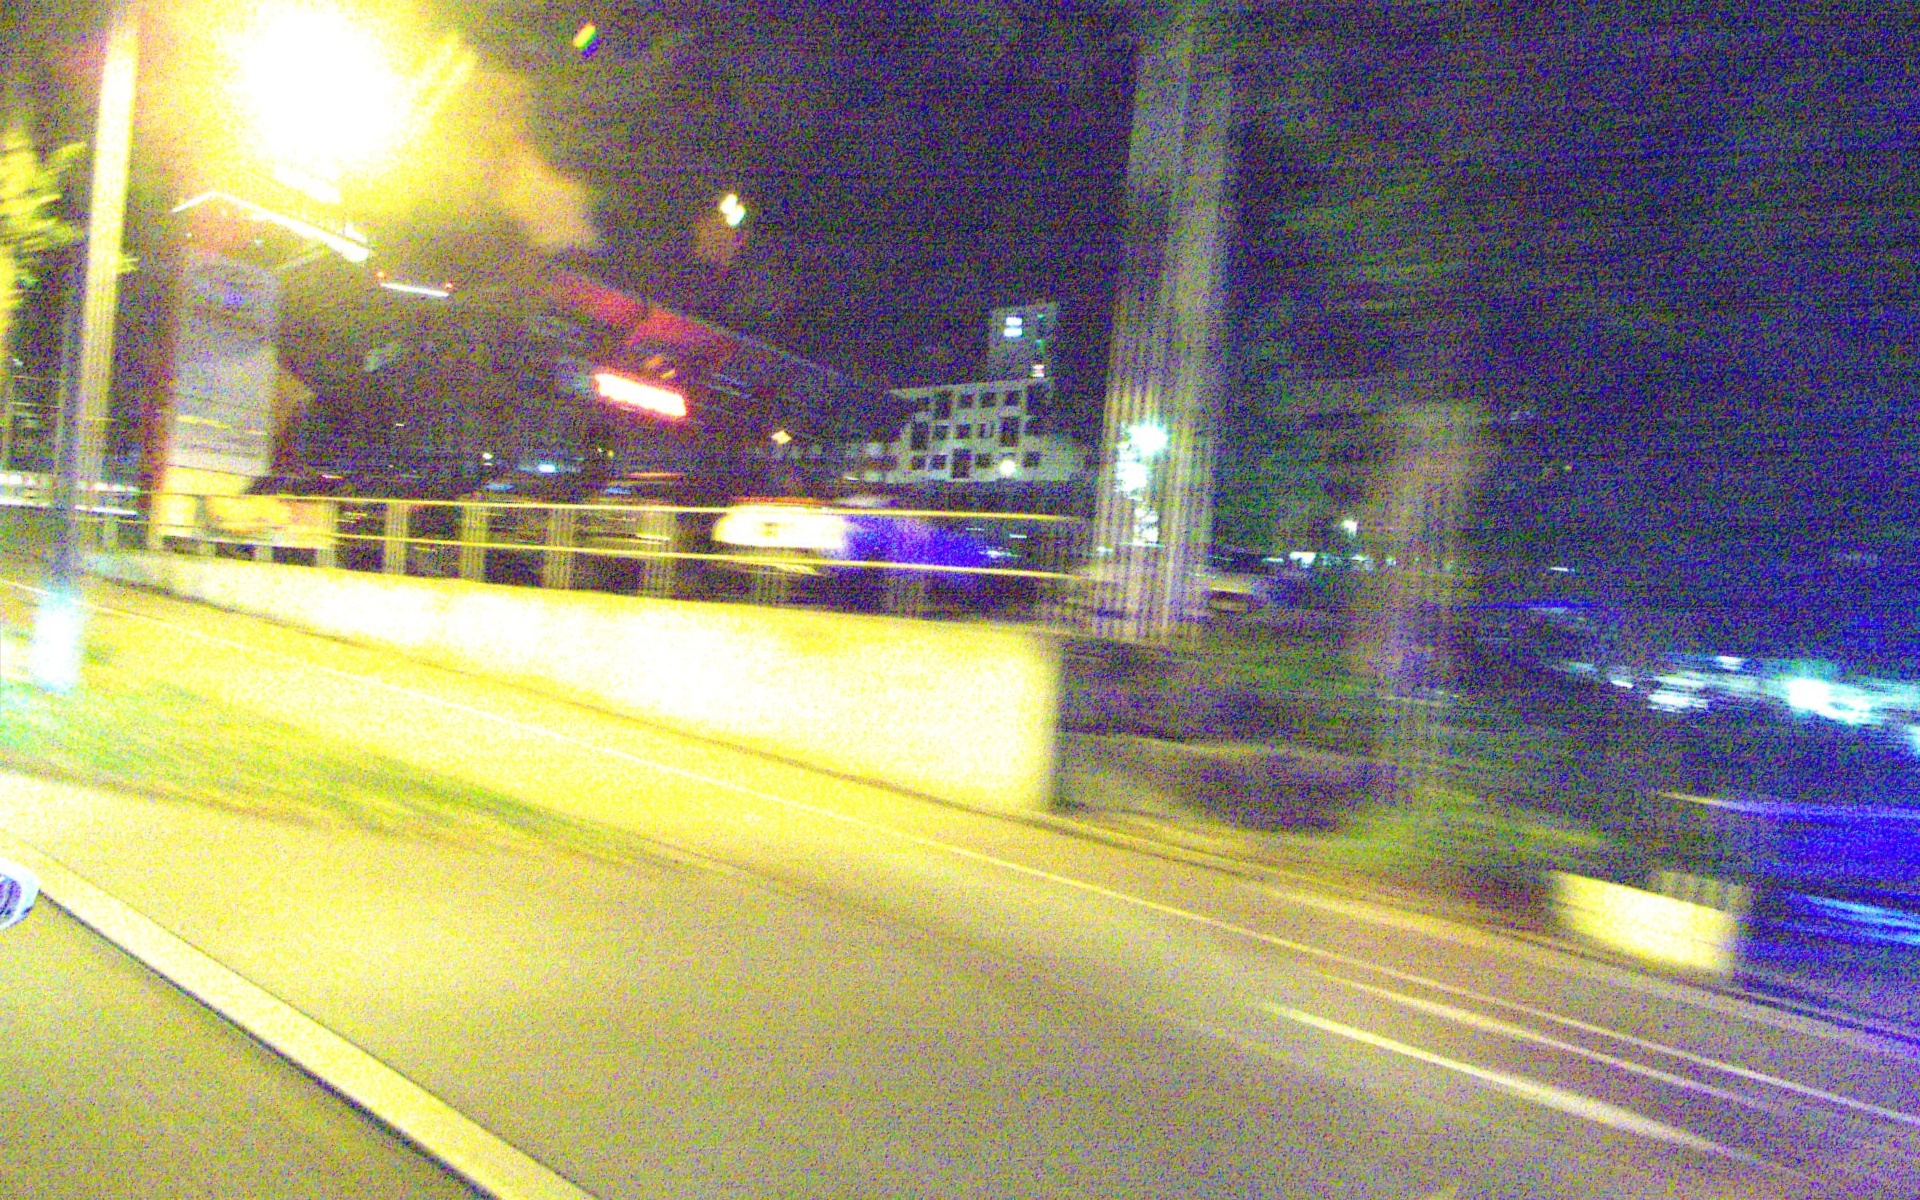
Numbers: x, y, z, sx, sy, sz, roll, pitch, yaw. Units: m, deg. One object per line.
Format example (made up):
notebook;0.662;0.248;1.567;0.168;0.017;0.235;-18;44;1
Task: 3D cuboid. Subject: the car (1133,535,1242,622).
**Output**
car;5.757;-0.478;25.133;1.721;1.920;3.814;5;1;26

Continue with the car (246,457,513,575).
car;-9.722;-1.353;17.133;1.696;1.590;3.568;5;1;24

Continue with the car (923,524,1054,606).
car;0.927;-0.942;28.995;1.965;1.934;4.584;5;0;26

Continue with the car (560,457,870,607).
car;-3.112;-0.812;13.574;1.709;1.591;3.989;5;1;30

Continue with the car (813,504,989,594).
car;-1.212;-1.082;22.750;1.722;1.748;4.359;5;2;31

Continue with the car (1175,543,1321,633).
car;5.536;-0.216;19.081;1.610;1.490;3.639;5;2;32

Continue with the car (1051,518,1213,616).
car;3.614;-0.635;20.593;1.807;1.755;3.984;5;3;32

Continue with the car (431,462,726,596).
car;-5.356;-0.940;14.601;1.750;1.608;3.750;4;1;27

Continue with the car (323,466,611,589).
car;-7.549;-1.055;15.770;1.712;1.508;3.730;5;0;27

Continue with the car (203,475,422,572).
car;-12.035;-1.350;19.033;1.707;1.510;3.840;3;1;-2

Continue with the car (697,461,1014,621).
car;-1.098;-0.618;12.578;1.792;1.542;4.123;4;0;30
